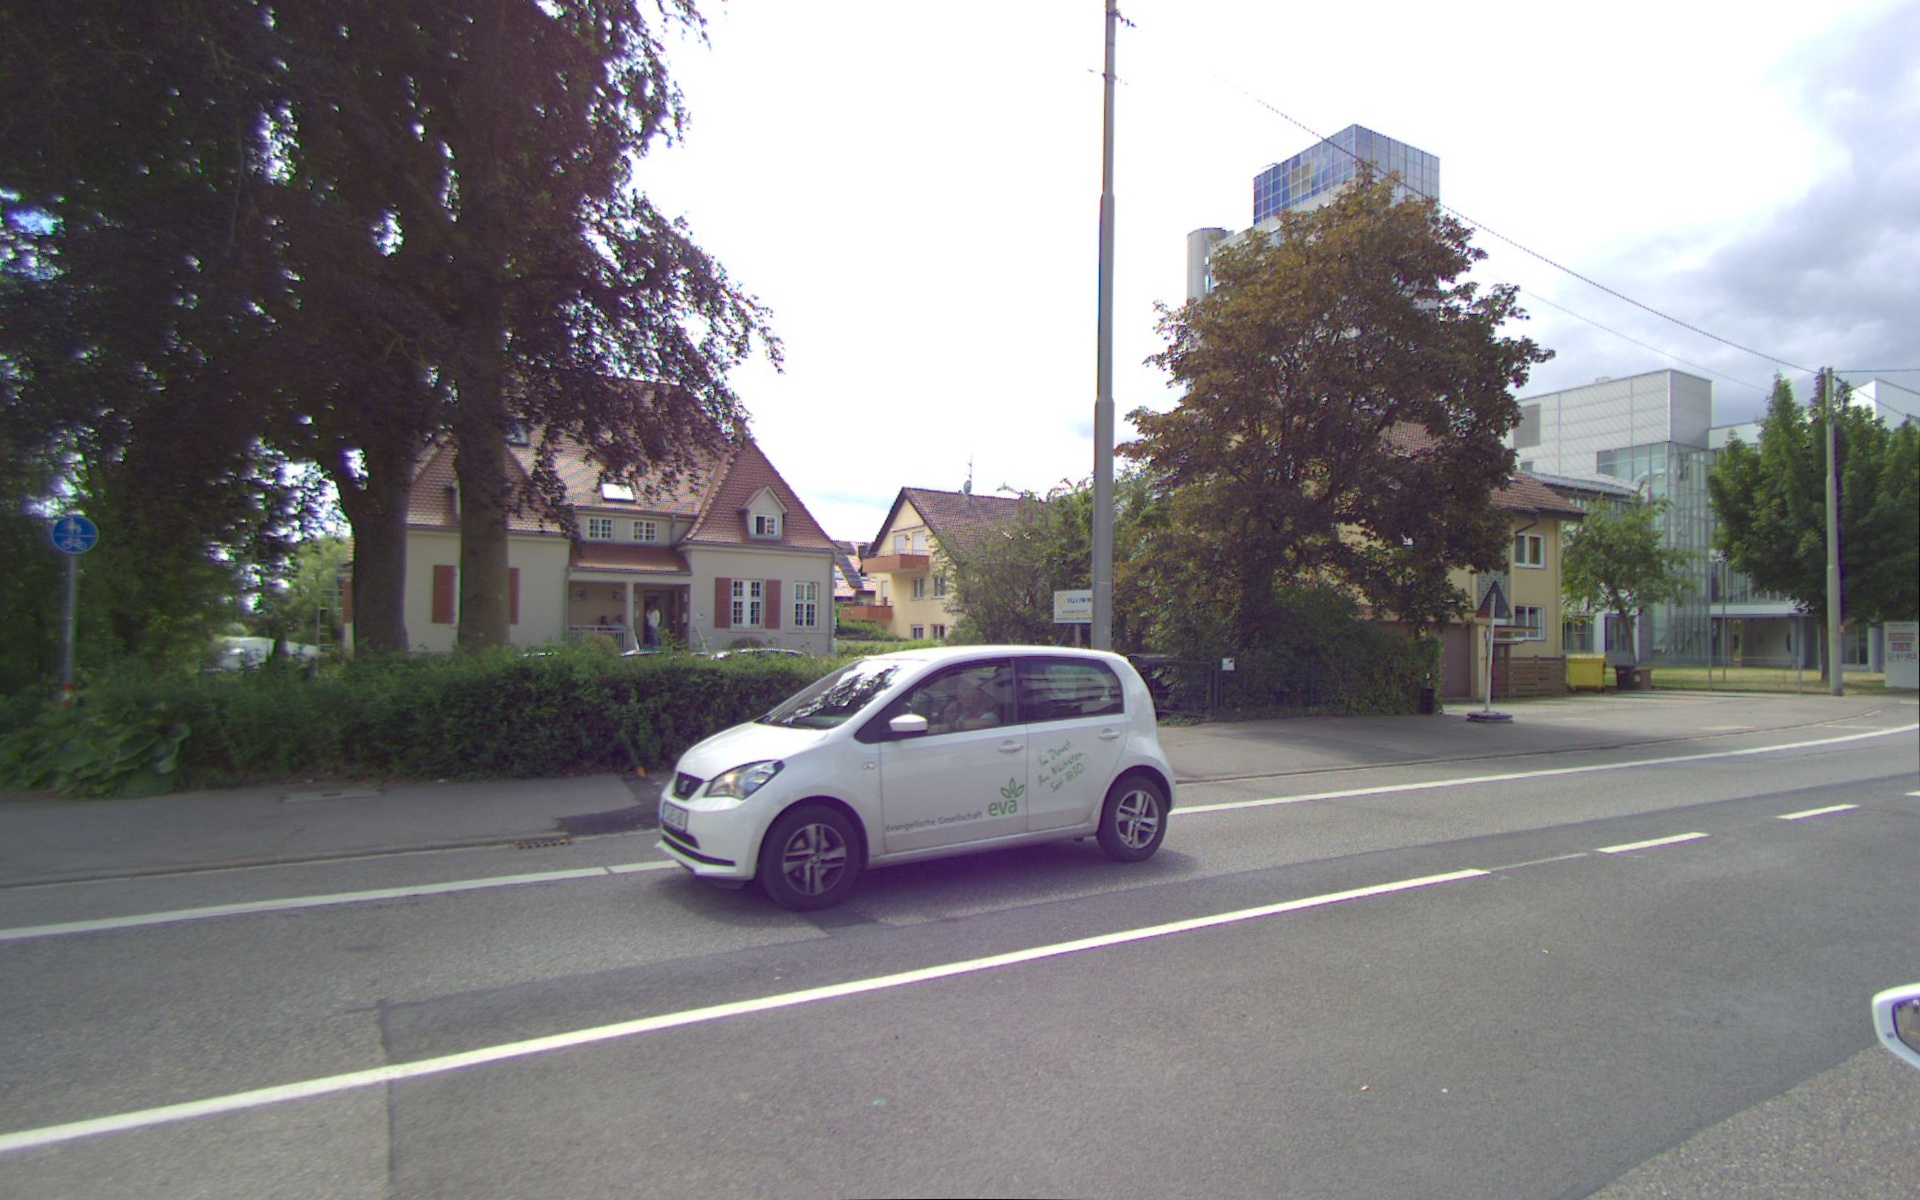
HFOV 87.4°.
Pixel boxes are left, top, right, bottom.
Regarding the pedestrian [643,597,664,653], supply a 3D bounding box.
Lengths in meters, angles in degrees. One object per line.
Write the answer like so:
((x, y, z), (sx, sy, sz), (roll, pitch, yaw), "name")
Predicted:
((-10.692, 0.890, 35.031), (0.576, 1.933, 0.587), (2, -3, -30), "pedestrian")

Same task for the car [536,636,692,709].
((-8.655, 1.772, 25.181), (3.398, 1.685, 1.652), (2, -2, -32), "car")

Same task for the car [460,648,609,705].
((-12.556, 2.210, 29.675), (3.828, 1.572, 1.856), (2, -3, -30), "car")

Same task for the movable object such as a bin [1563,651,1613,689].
((23.280, 2.587, 37.233), (1.389, 1.347, 1.417), (-3, -4, 39), "movable object such as a bin")

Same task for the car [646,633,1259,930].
((0.038, 1.015, 6.942), (3.953, 1.535, 1.653), (2, -2, -30), "car")

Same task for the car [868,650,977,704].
((-1.123, 2.364, 31.491), (1.639, 1.535, 3.495), (-1, -3, 35), "car")

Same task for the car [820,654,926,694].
((-2.857, 2.426, 33.484), (1.639, 1.176, 3.495), (-1, -3, 35), "car")

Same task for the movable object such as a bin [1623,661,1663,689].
((23.882, 2.617, 35.127), (0.985, 0.954, 0.745), (1, -3, -23), "movable object such as a bin")

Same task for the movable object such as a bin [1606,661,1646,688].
((23.844, 2.666, 35.961), (0.985, 0.954, 0.745), (1, -3, -23), "movable object such as a bin")

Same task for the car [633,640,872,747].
((-3.303, 1.422, 16.126), (3.398, 1.535, 1.652), (2, -2, -32), "car")
